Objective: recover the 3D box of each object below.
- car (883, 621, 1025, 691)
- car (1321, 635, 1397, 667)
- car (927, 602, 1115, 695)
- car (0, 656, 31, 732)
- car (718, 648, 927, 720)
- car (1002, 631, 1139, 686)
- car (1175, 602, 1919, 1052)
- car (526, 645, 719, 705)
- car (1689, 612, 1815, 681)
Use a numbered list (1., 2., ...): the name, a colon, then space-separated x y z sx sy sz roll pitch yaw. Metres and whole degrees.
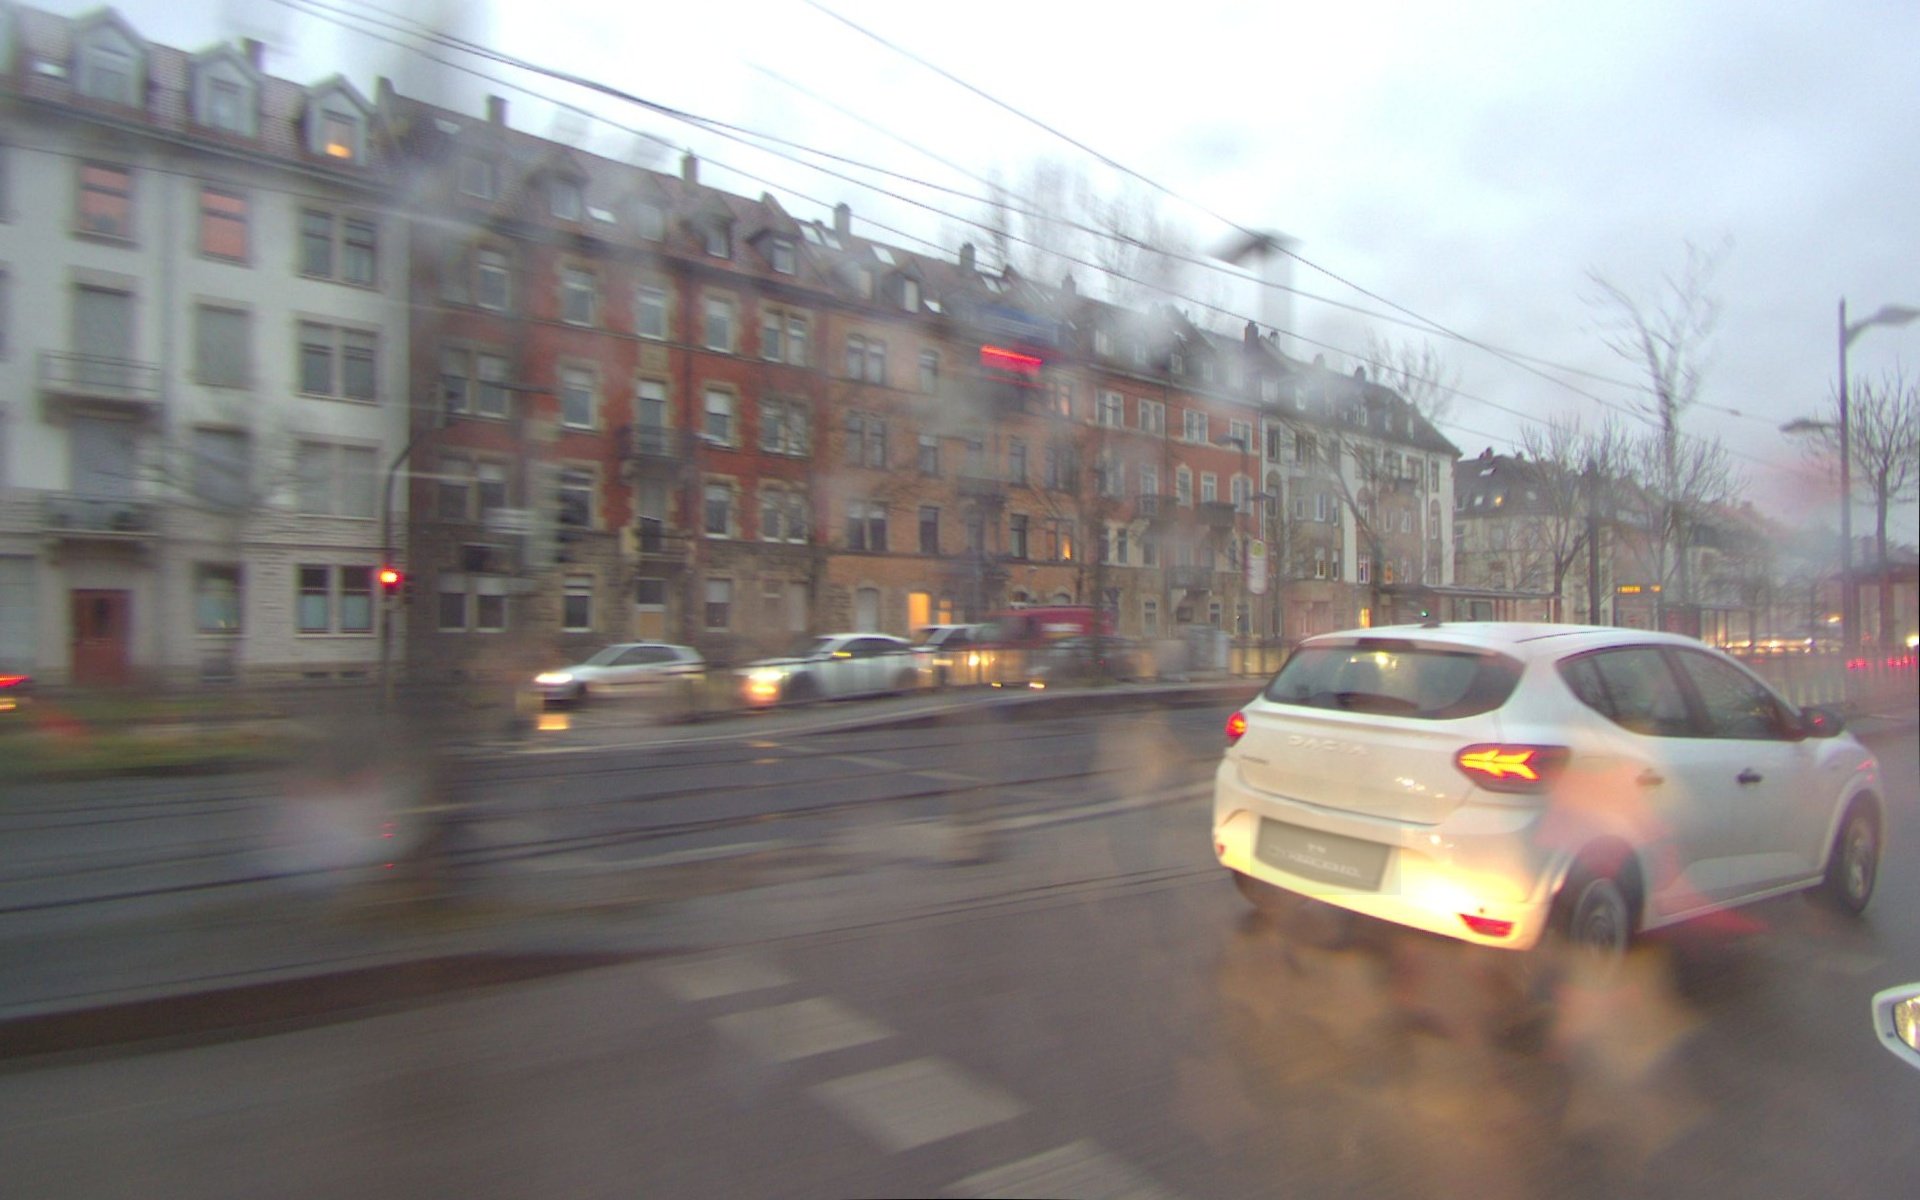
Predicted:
1. car: -0.145 1.624 30.081 3.911 1.966 1.977 1 -3 -40
2. car: 16.103 2.034 40.474 3.167 1.224 1.524 1 -3 -40
3. car: 1.749 1.298 27.652 5.221 2.340 1.978 1 -3 -39
4. car: -17.922 1.577 16.253 4.048 1.243 1.526 1 -2 -36
5. car: -2.735 1.646 20.512 4.053 1.262 1.524 1 -3 -40
6. car: 2.707 1.398 24.352 3.167 1.223 1.524 1 -4 -40
7. car: 3.133 0.796 5.112 3.954 1.506 1.618 0 -2 -31
8. car: -7.849 1.699 23.569 4.051 1.243 1.525 1 -3 -39
9. car: 22.843 1.325 28.928 3.966 1.847 1.978 1 -3 -39
